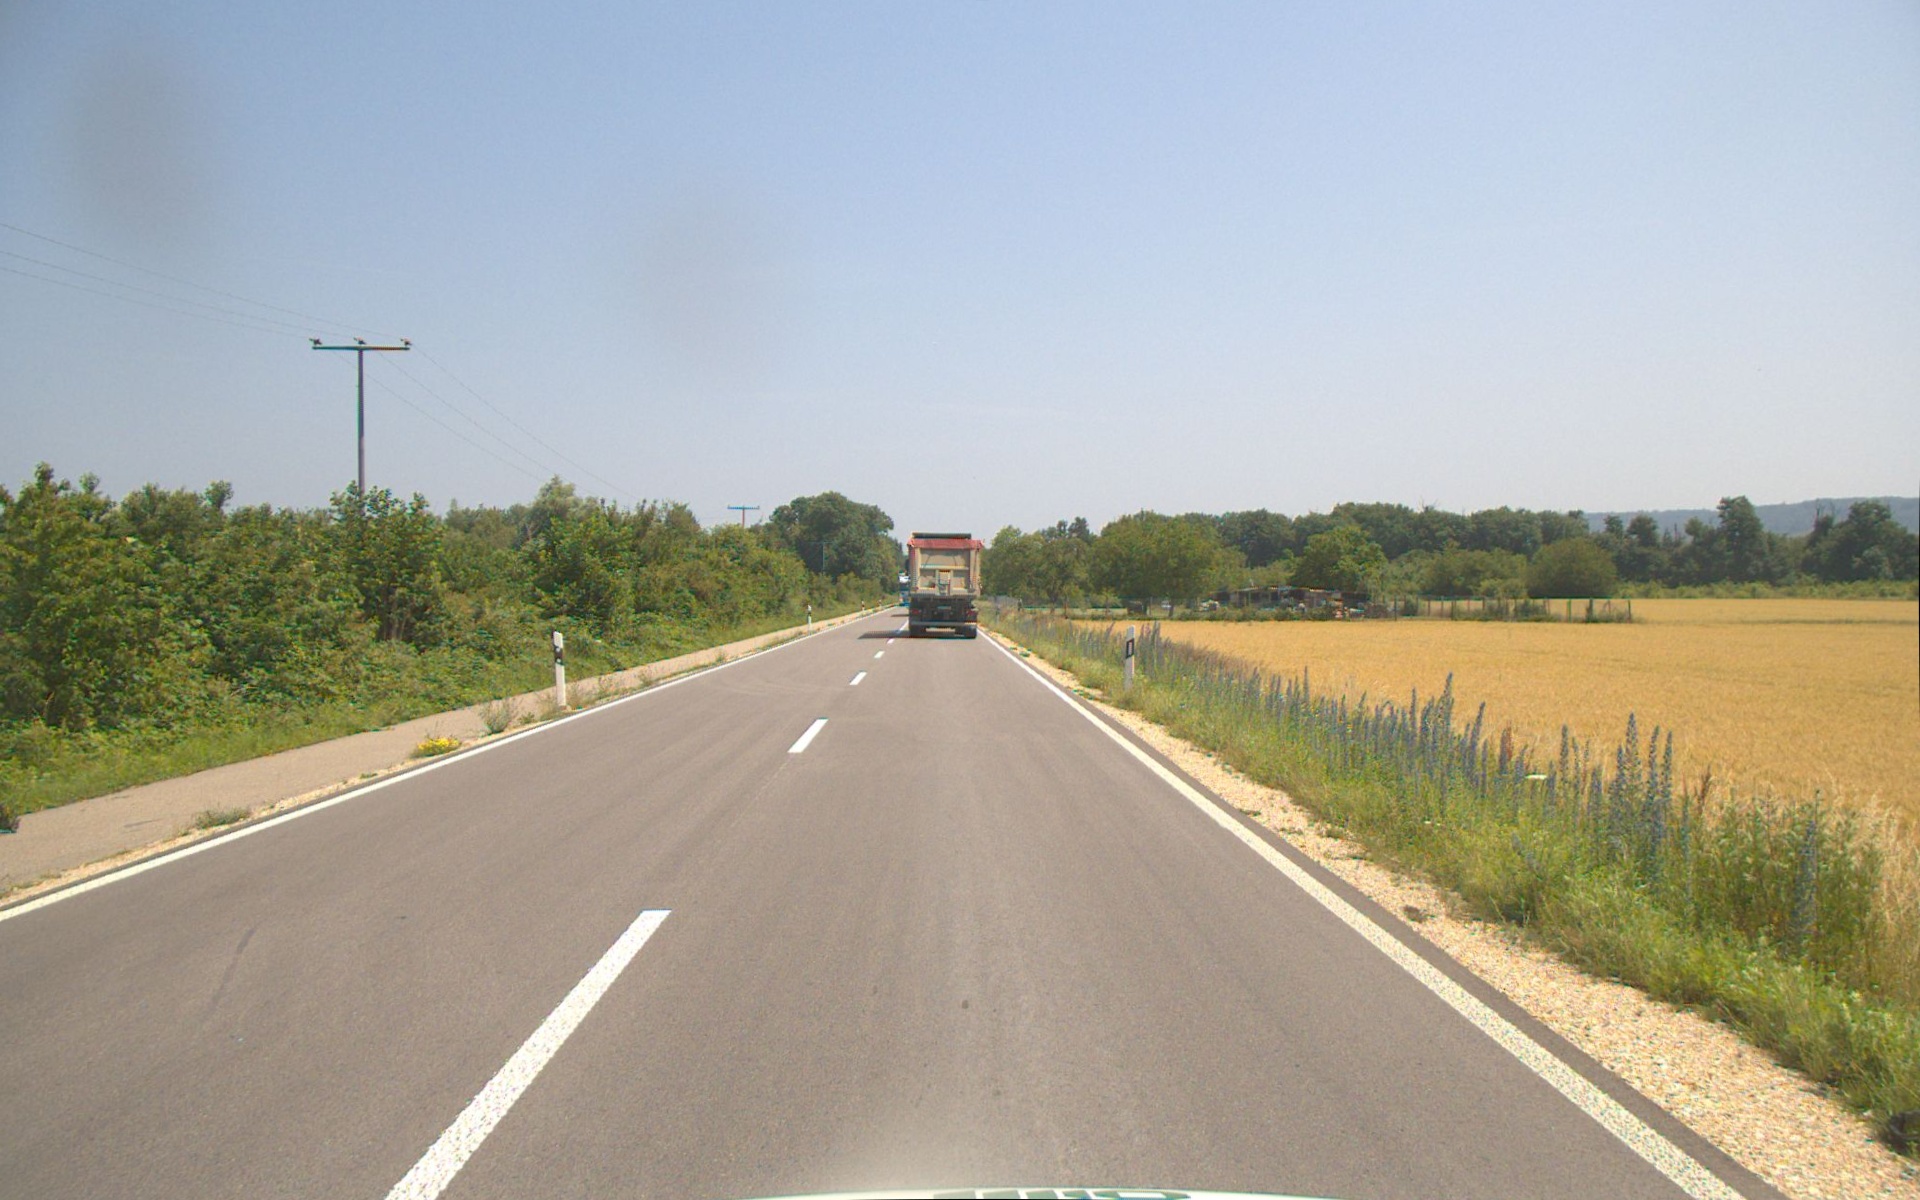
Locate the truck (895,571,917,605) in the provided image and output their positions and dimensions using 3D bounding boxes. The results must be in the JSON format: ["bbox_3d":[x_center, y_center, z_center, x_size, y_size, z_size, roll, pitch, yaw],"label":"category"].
[{"bbox_3d":[-7.248,-1.570,221.927,2.662,4.340,7.388,-2,0,-1],"label":"truck"}]

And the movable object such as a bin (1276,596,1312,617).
[{"bbox_3d":[24.277,0.446,120.292,1.540,1.522,3.654,0,0,-6],"label":"movable object such as a bin"}]

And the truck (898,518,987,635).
[{"bbox_3d":[-0.714,-0.787,63.083,2.948,3.942,12.206,2,0,-1],"label":"truck"}]

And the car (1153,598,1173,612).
[{"bbox_3d":[23.698,0.597,193.197,1.563,1.512,3.421,0,1,-9],"label":"car"}]
